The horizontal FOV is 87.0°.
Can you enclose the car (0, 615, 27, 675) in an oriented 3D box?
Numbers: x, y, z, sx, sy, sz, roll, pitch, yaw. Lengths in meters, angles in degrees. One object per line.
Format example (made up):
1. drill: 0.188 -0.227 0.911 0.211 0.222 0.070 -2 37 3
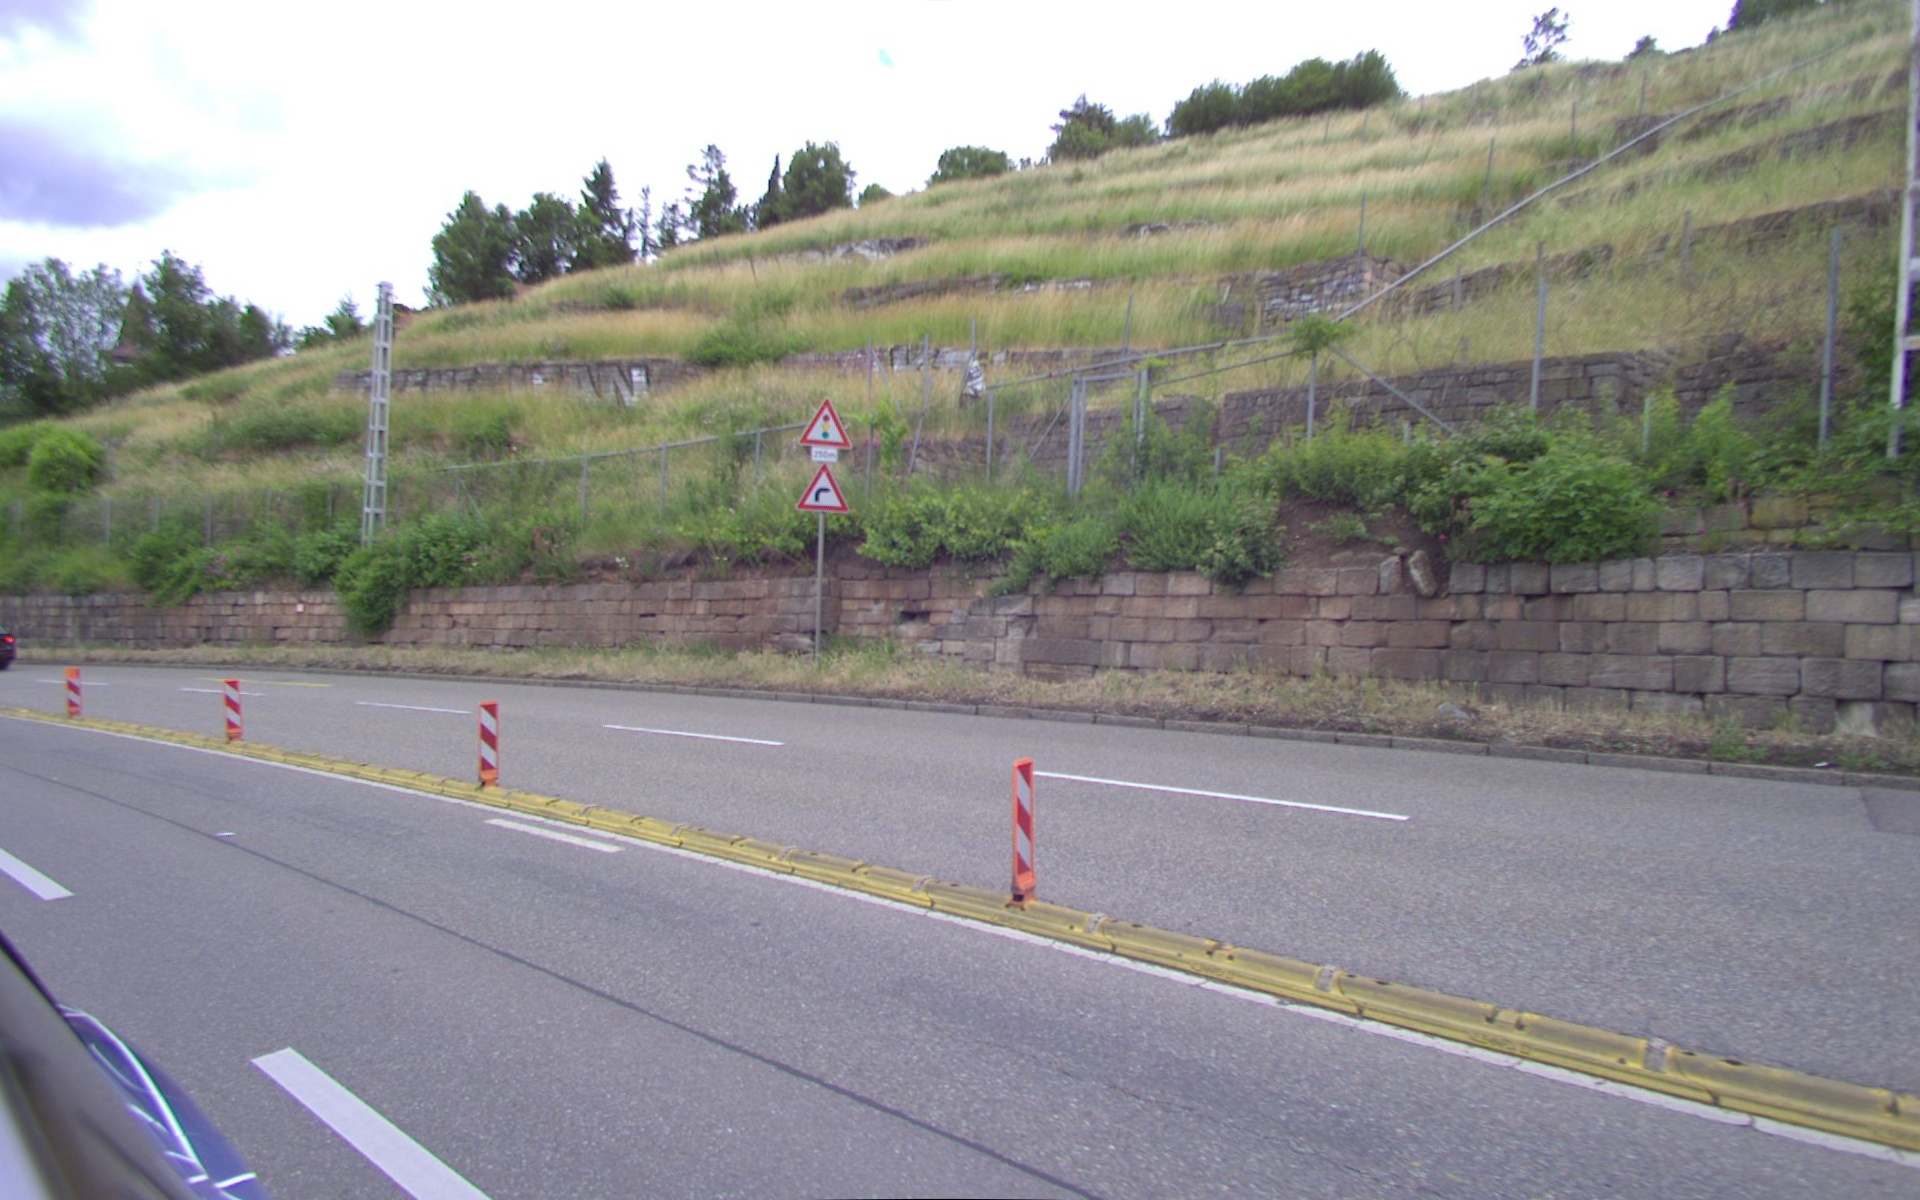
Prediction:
1. car: -25.522 1.147 25.179 4.389 1.424 1.842 -1 1 25
